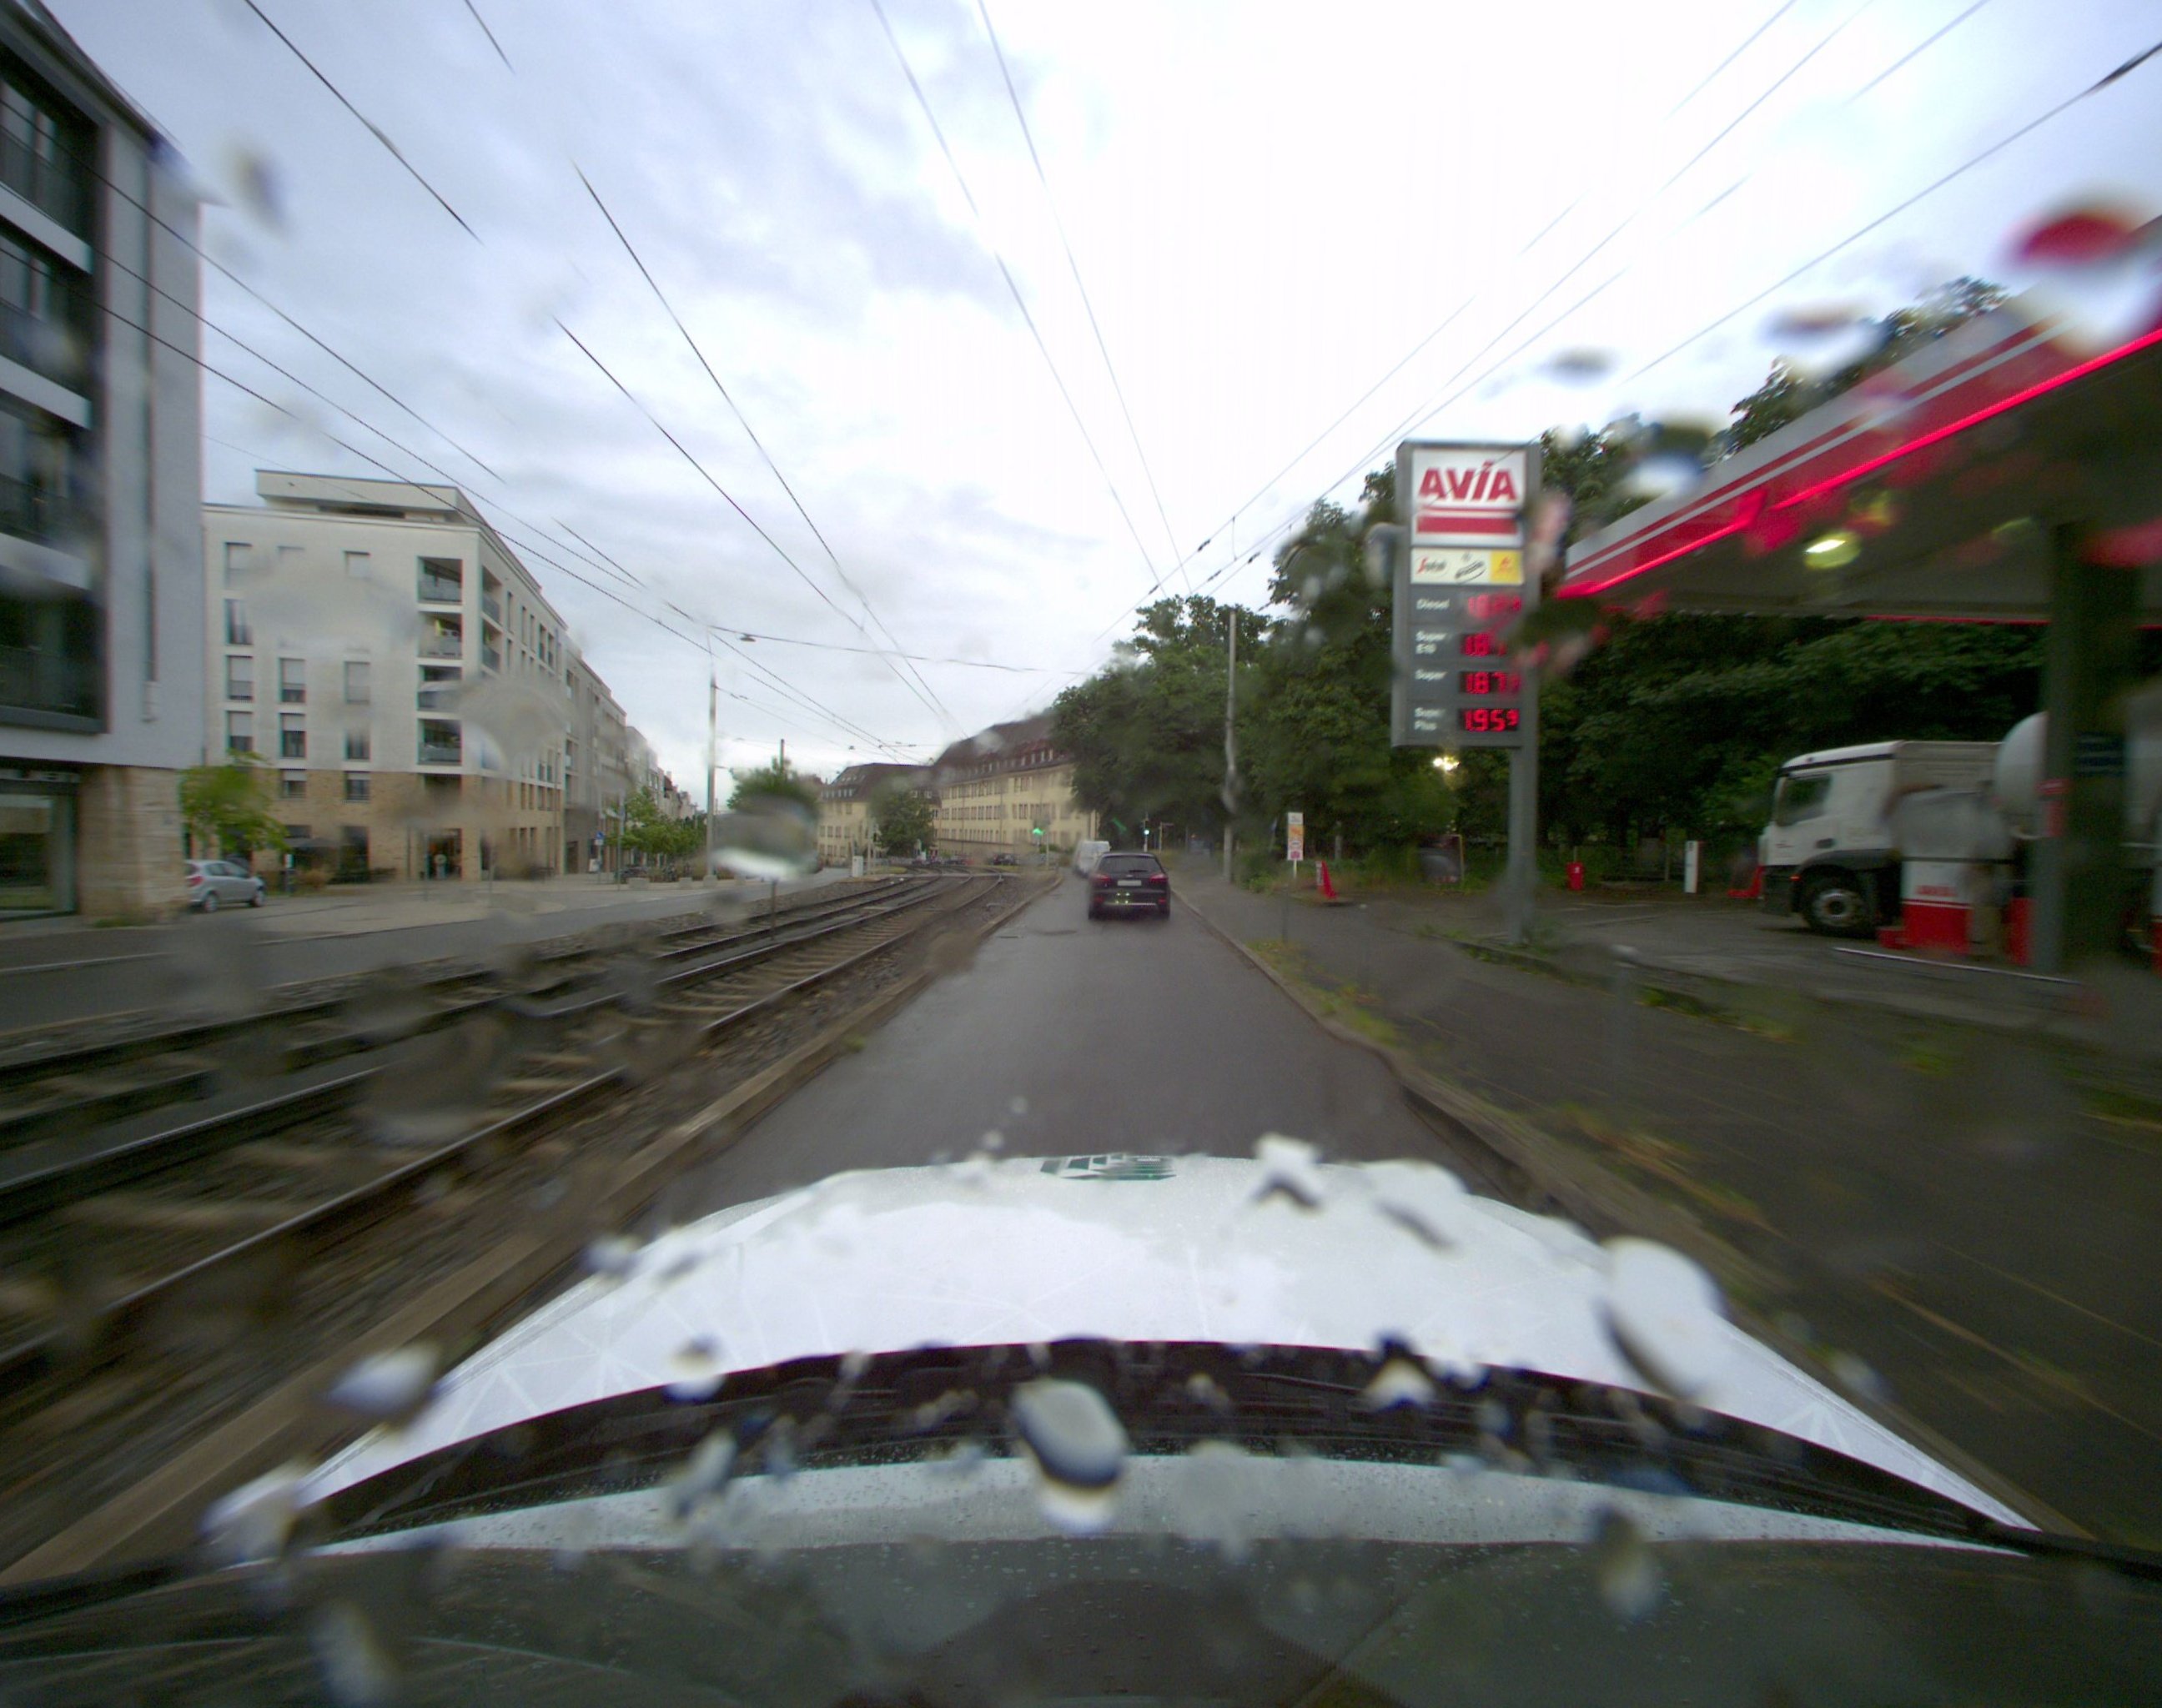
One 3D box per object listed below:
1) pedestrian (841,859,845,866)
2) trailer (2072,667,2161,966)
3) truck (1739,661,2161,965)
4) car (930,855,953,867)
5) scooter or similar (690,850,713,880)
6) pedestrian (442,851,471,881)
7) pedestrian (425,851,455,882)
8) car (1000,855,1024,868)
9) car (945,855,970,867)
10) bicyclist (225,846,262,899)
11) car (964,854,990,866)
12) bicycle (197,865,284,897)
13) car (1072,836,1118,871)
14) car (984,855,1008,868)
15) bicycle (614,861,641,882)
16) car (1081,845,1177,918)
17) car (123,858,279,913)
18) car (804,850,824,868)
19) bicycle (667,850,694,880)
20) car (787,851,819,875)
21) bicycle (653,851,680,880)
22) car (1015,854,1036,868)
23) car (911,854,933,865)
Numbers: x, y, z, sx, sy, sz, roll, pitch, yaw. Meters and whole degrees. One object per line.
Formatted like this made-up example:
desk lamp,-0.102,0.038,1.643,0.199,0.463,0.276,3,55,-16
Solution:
pedestrian,-44.787,1.599,153.348,0.508,1.315,0.505,0,-1,-34
trailer,13.820,-0.451,5.209,2.797,3.396,9.827,0,0,-2
truck,13.388,-0.483,11.630,2.822,3.399,6.117,-1,0,-4
car,-19.176,0.984,111.911,1.677,1.476,4.065,-1,0,-34
scooter or similar,-20.873,0.615,44.850,0.599,1.596,2.352,0,0,-11
pedestrian,-34.804,0.663,45.379,0.833,1.652,0.906,-1,0,10
pedestrian,-34.919,0.672,44.393,0.834,1.652,0.906,-2,0,9
car,-7.888,0.811,92.747,1.544,1.416,3.613,-1,0,-25
car,-16.199,0.944,106.966,1.676,1.476,4.413,-1,0,-31
bicyclist,-29.446,0.639,28.644,0.792,1.804,0.891,0,0,-38
car,-13.125,0.805,102.577,1.678,1.476,4.022,1,-1,-35
bicycle,-29.472,0.936,28.606,2.021,1.029,0.727,0,0,-37
car,0.675,-0.029,43.233,2.132,1.745,4.213,-1,0,-3
car,-10.242,0.894,97.859,1.673,1.573,3.825,-1,0,-24
bicycle,-24.806,0.945,44.570,0.474,1.047,2.224,-1,0,-7
car,0.987,0.557,18.777,1.914,1.479,3.999,-1,0,-1
car,-24.971,0.827,23.302,1.603,1.420,3.885,0,0,-24
car,-24.566,0.452,74.967,1.471,1.531,2.917,2,-1,-14
bicycle,-21.948,0.610,44.667,0.675,1.596,2.352,0,0,-11
car,-20.496,0.664,60.239,1.998,1.605,4.191,3,-2,-17
bicycle,-22.822,0.621,44.898,0.675,1.596,2.352,0,0,-11
car,-6.090,0.794,88.989,1.602,1.465,2.704,-1,0,-18
car,-22.799,0.847,116.713,1.676,1.524,4.068,-1,0,-31
